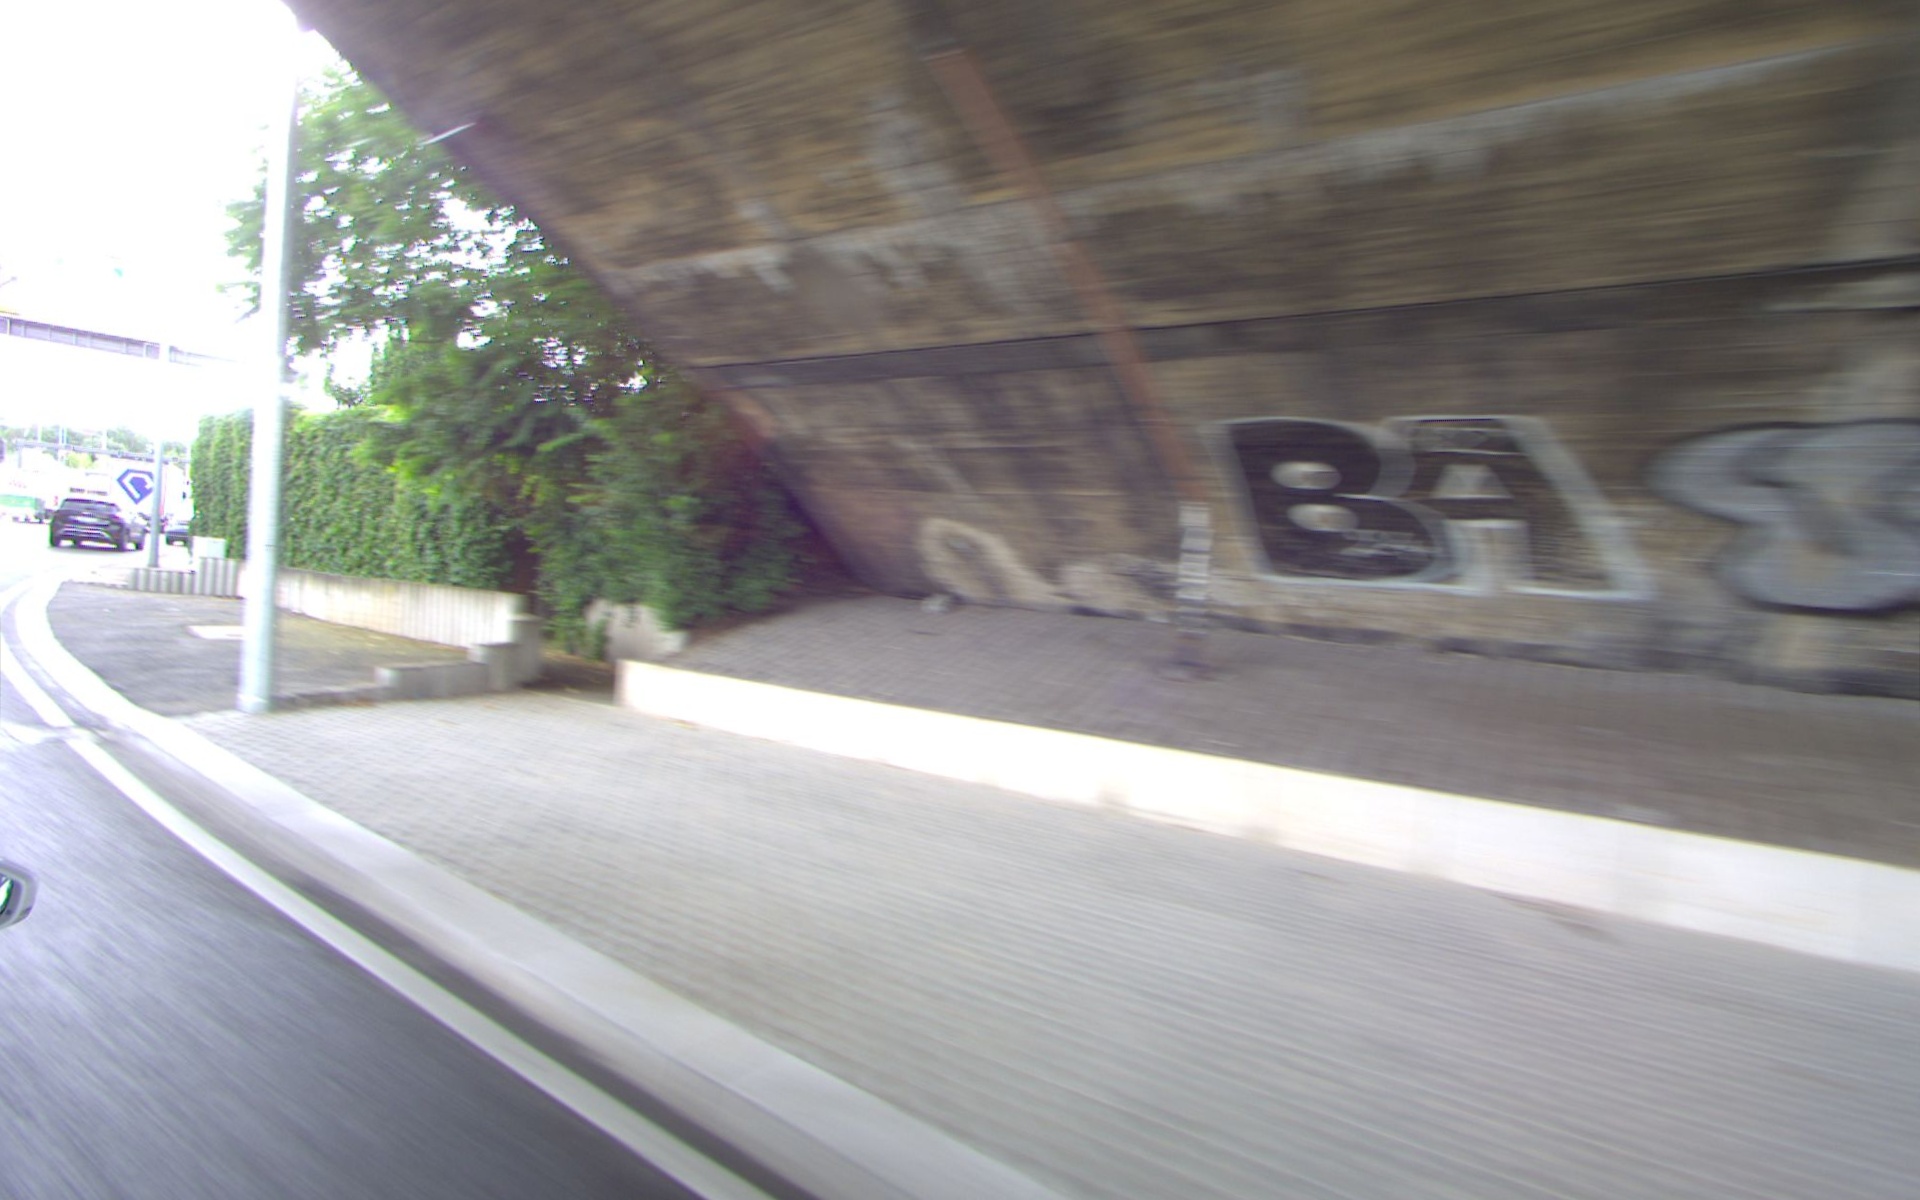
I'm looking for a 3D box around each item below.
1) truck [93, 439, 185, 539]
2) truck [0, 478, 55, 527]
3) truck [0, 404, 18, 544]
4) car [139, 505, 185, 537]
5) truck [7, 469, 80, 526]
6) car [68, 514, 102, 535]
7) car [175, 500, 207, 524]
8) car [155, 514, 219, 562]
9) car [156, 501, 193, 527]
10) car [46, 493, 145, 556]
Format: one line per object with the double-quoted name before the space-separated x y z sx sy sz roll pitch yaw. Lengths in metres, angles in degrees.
"truck" -47.922 -6.281 59.003 3.047 4.859 9.073 8 -2 -35
"truck" -46.800 -4.836 50.099 1.983 2.054 3.796 8 -2 -36
"truck" -28.460 -3.749 25.840 3.696 4.193 10.895 6 0 -31
"car" -53.065 -5.224 66.965 1.982 1.703 3.964 8 -2 -34
"truck" -48.869 -5.427 53.727 1.981 2.504 3.967 8 -2 -32
"car" -86.879 -7.475 99.882 1.981 1.704 3.964 6 -1 -34
"car" -72.677 -8.258 95.148 1.982 1.803 3.964 8 -2 -34
"car" -31.270 -2.496 40.786 1.882 1.646 3.960 6 -1 -37
"car" -65.239 -7.157 83.639 1.982 1.703 3.964 8 -2 -34
"car" -25.981 -2.207 30.351 1.882 1.538 3.962 6 -2 -37
